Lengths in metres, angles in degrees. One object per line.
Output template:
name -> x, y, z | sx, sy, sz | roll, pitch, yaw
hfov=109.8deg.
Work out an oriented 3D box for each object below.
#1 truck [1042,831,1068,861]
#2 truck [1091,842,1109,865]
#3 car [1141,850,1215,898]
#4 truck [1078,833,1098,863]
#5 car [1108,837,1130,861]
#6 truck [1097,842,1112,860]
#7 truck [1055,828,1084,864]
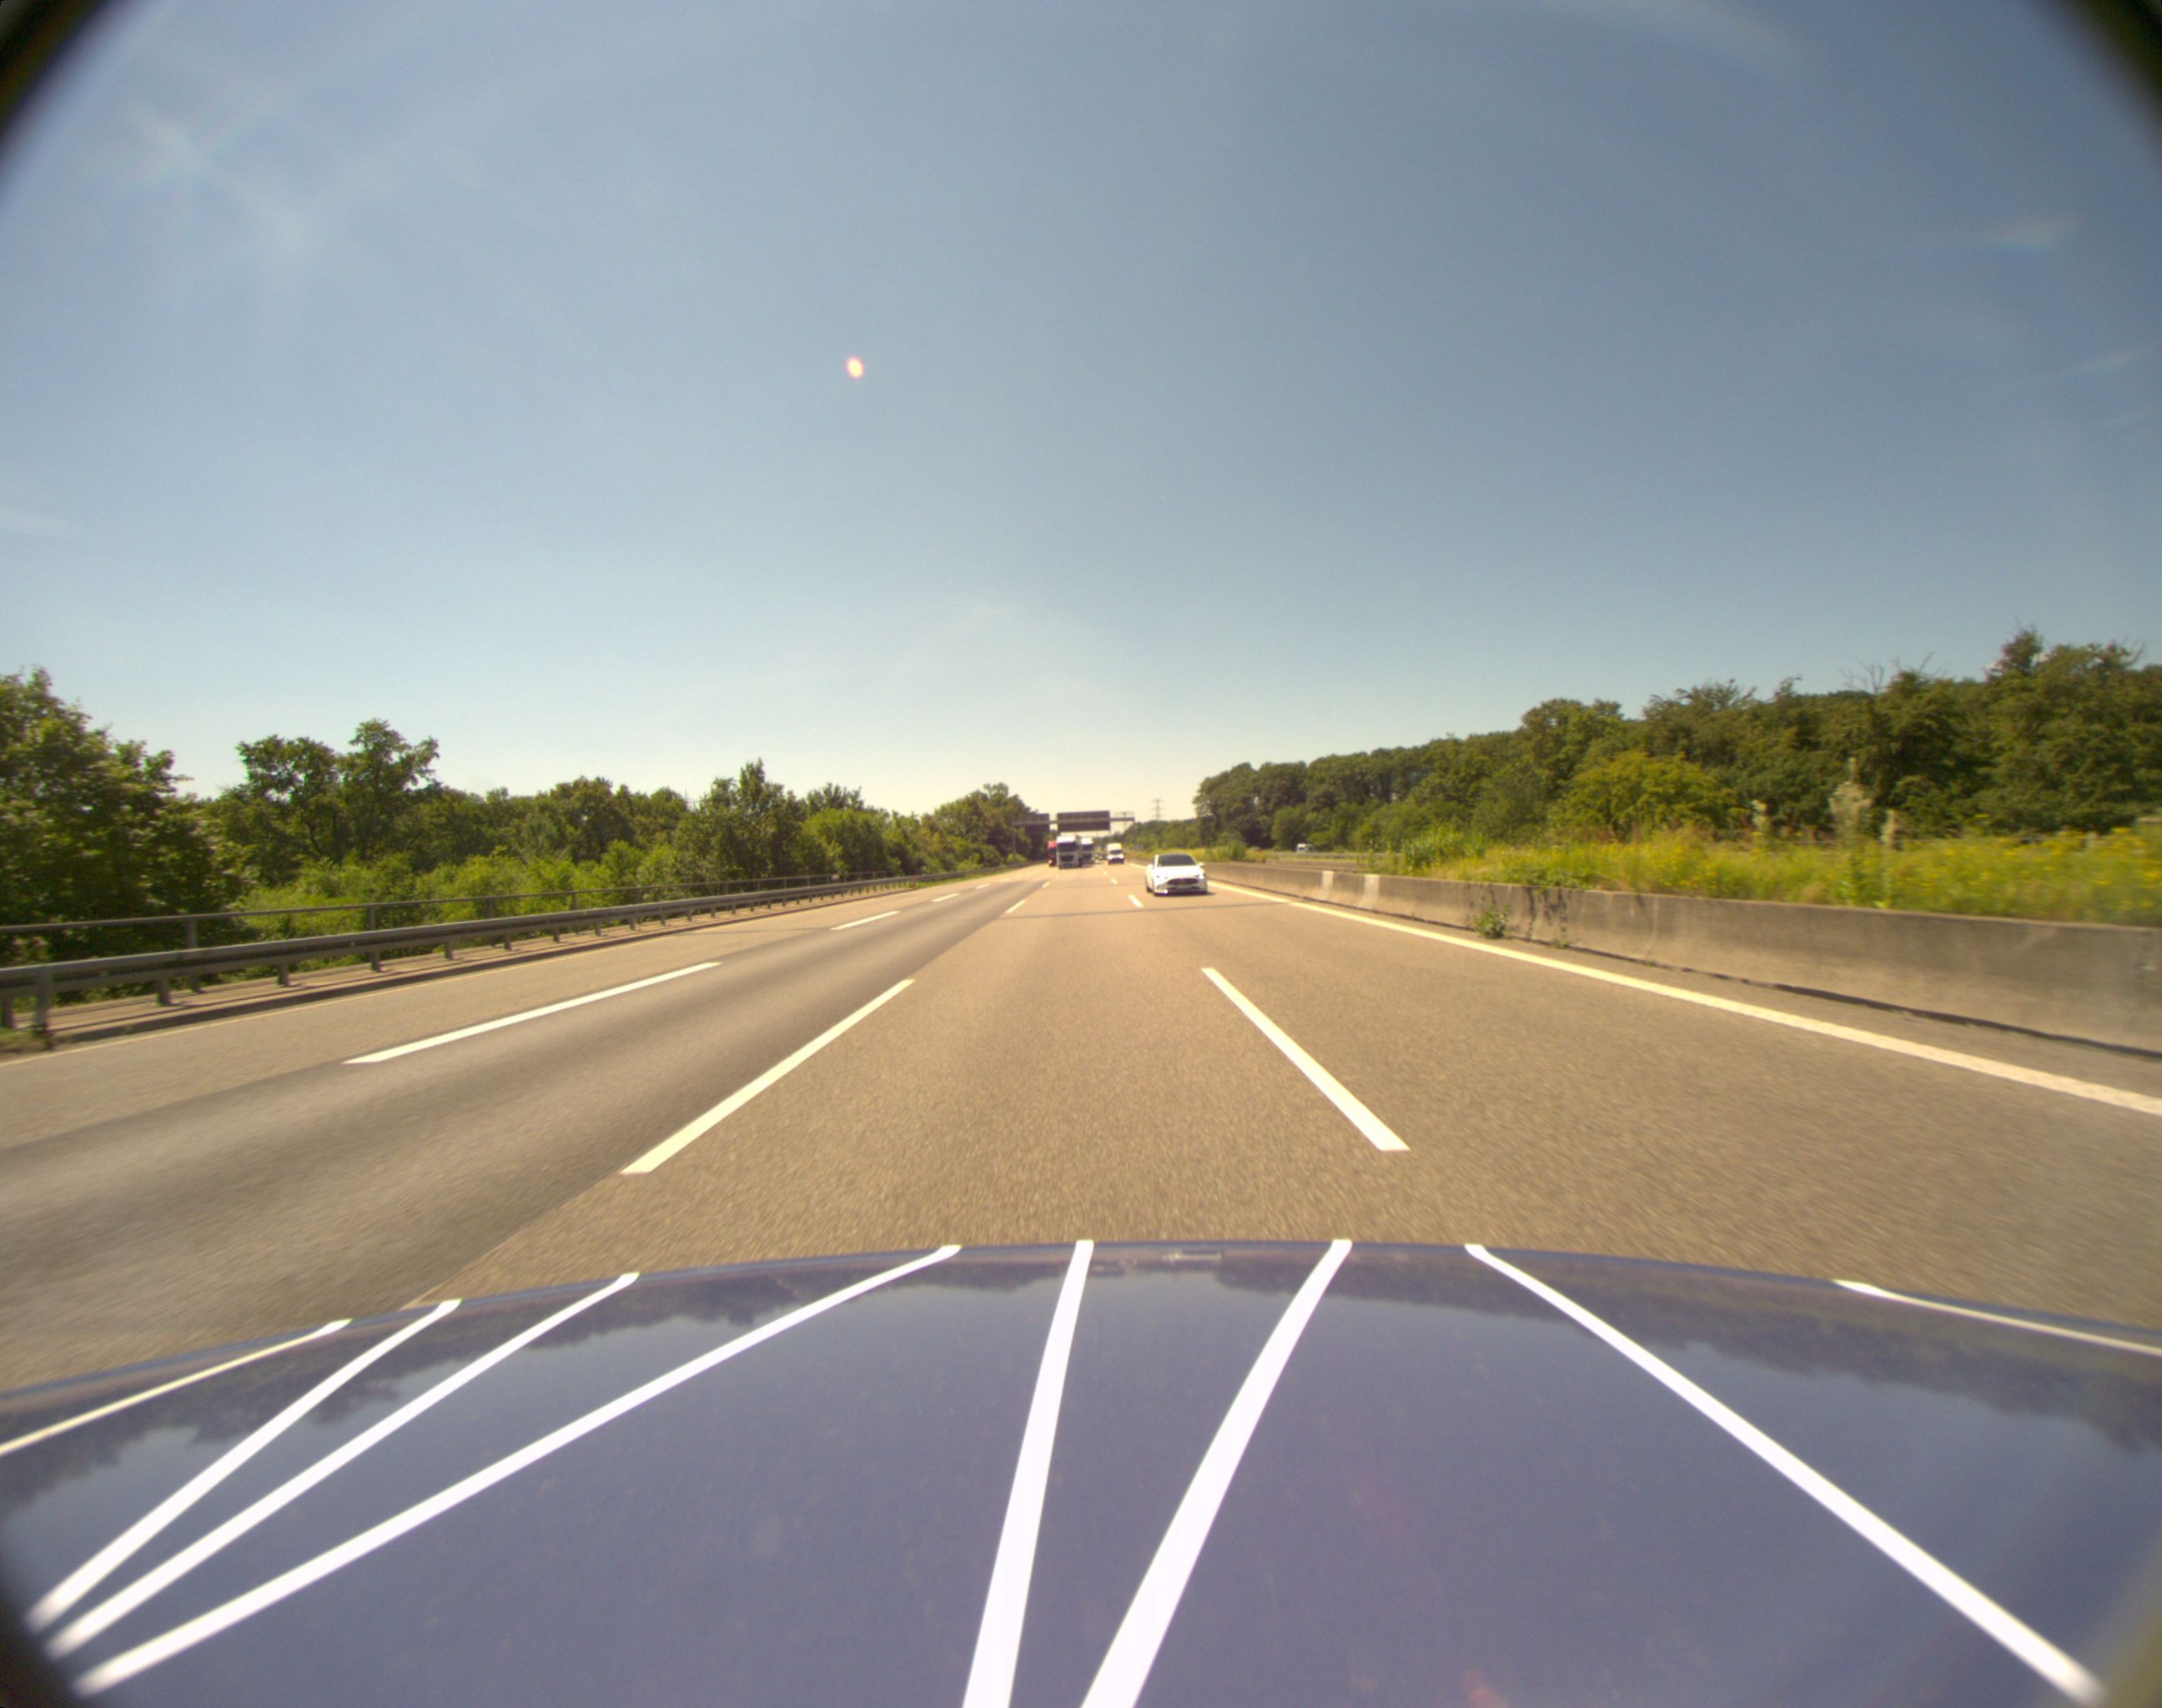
truck -> -4.104, -1.226, 121.466 | 3.333, 4.351, 8.501 | -4, 0, 2
truck -> 3.869, -0.149, 155.582 | 3.333, 4.351, 8.501 | -4, 0, 2
car -> 3.359, 0.632, 27.260 | 1.771, 1.440, 5.107 | -4, 0, -2
truck -> 1.141, -0.919, 117.568 | 2.700, 4.232, 8.243 | -5, 1, 2
car -> 4.982, -0.644, 101.289 | 2.521, 2.857, 6.400 | -5, 1, 2
truck -> 5.888, -0.810, 190.743 | 3.333, 4.351, 8.501 | -4, 0, 2
truck -> -1.429, -0.998, 95.393 | 2.990, 4.187, 7.593 | -4, 1, 2
